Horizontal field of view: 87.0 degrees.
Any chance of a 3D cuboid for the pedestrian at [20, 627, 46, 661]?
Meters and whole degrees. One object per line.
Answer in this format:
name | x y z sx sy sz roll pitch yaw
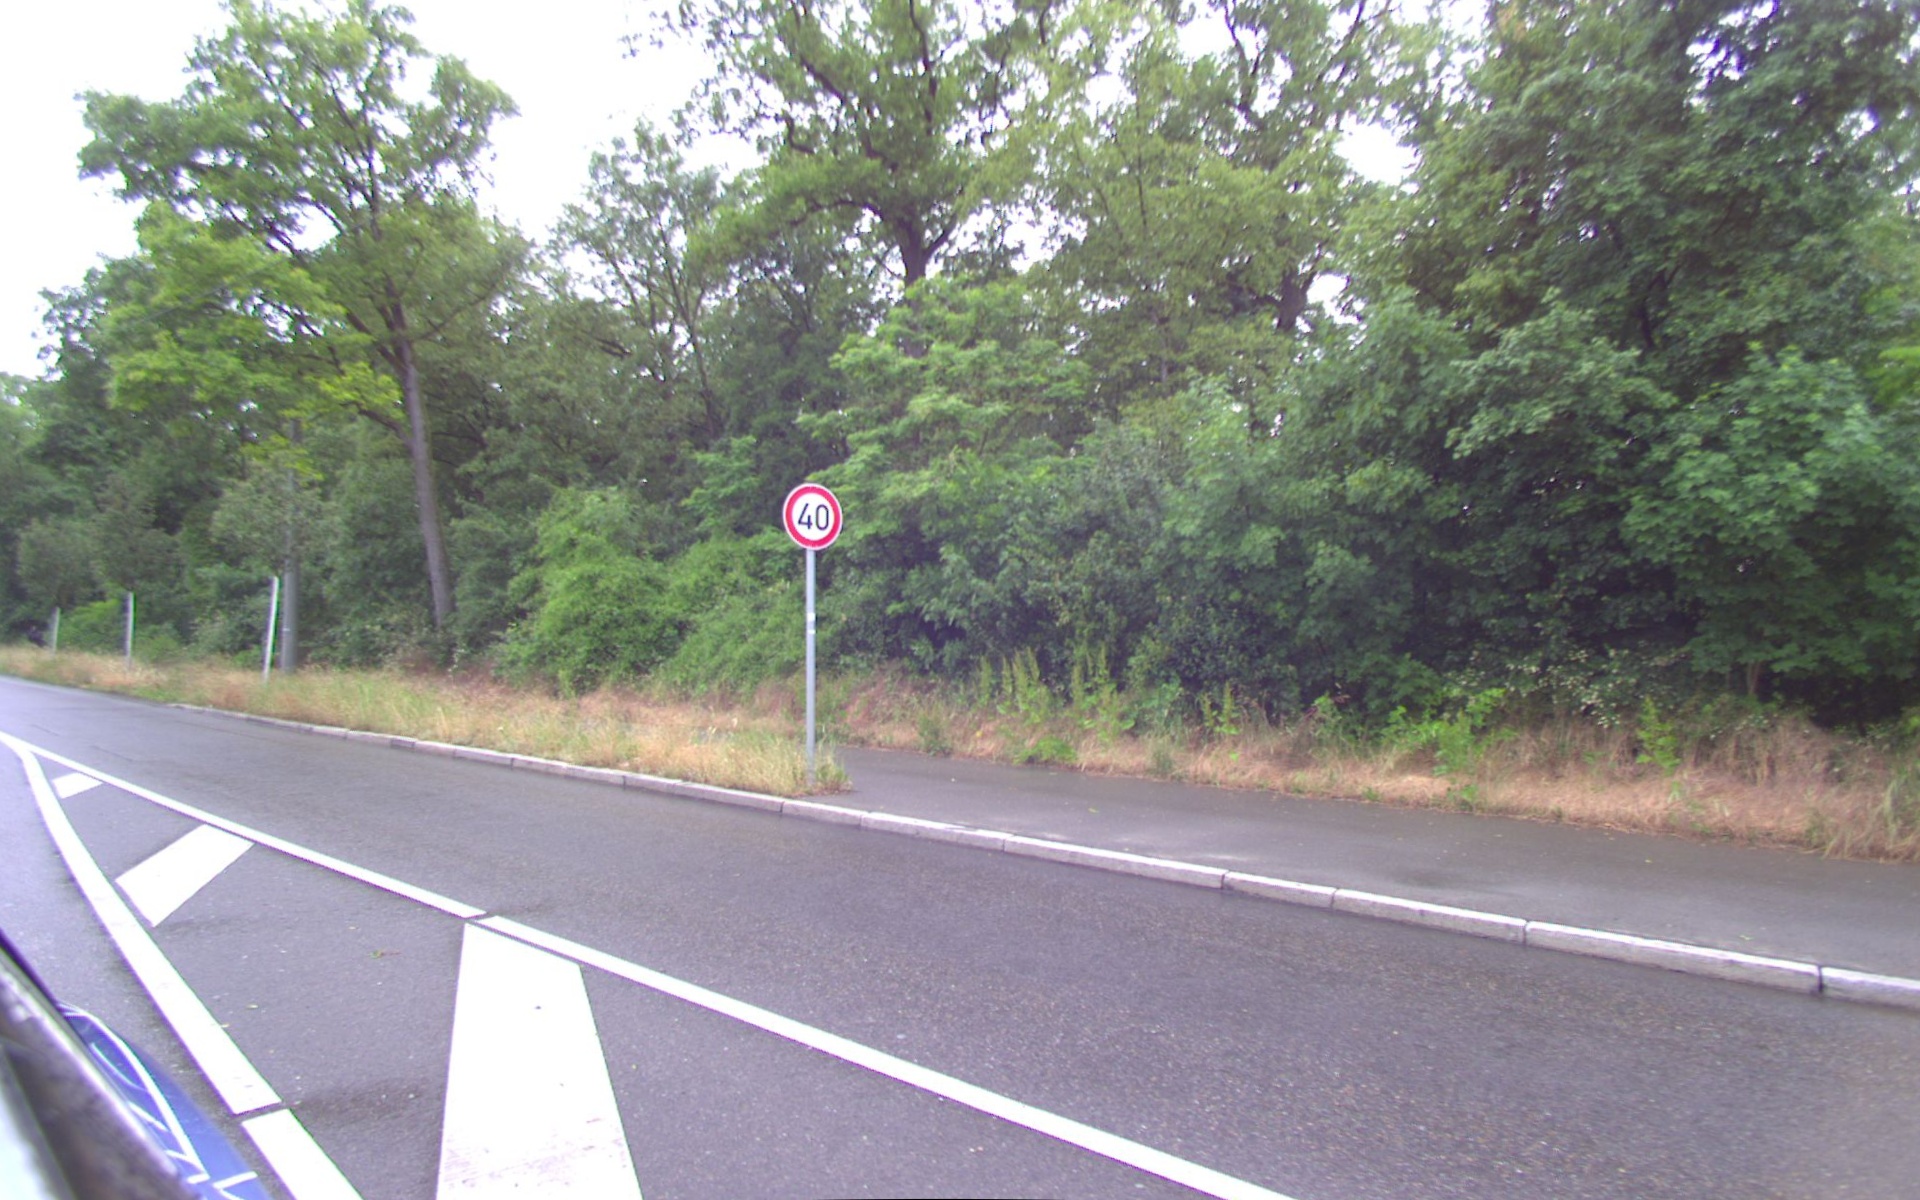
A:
pedestrian | -44.710 2.138 48.790 0.731 1.620 0.773 -1 -3 38
